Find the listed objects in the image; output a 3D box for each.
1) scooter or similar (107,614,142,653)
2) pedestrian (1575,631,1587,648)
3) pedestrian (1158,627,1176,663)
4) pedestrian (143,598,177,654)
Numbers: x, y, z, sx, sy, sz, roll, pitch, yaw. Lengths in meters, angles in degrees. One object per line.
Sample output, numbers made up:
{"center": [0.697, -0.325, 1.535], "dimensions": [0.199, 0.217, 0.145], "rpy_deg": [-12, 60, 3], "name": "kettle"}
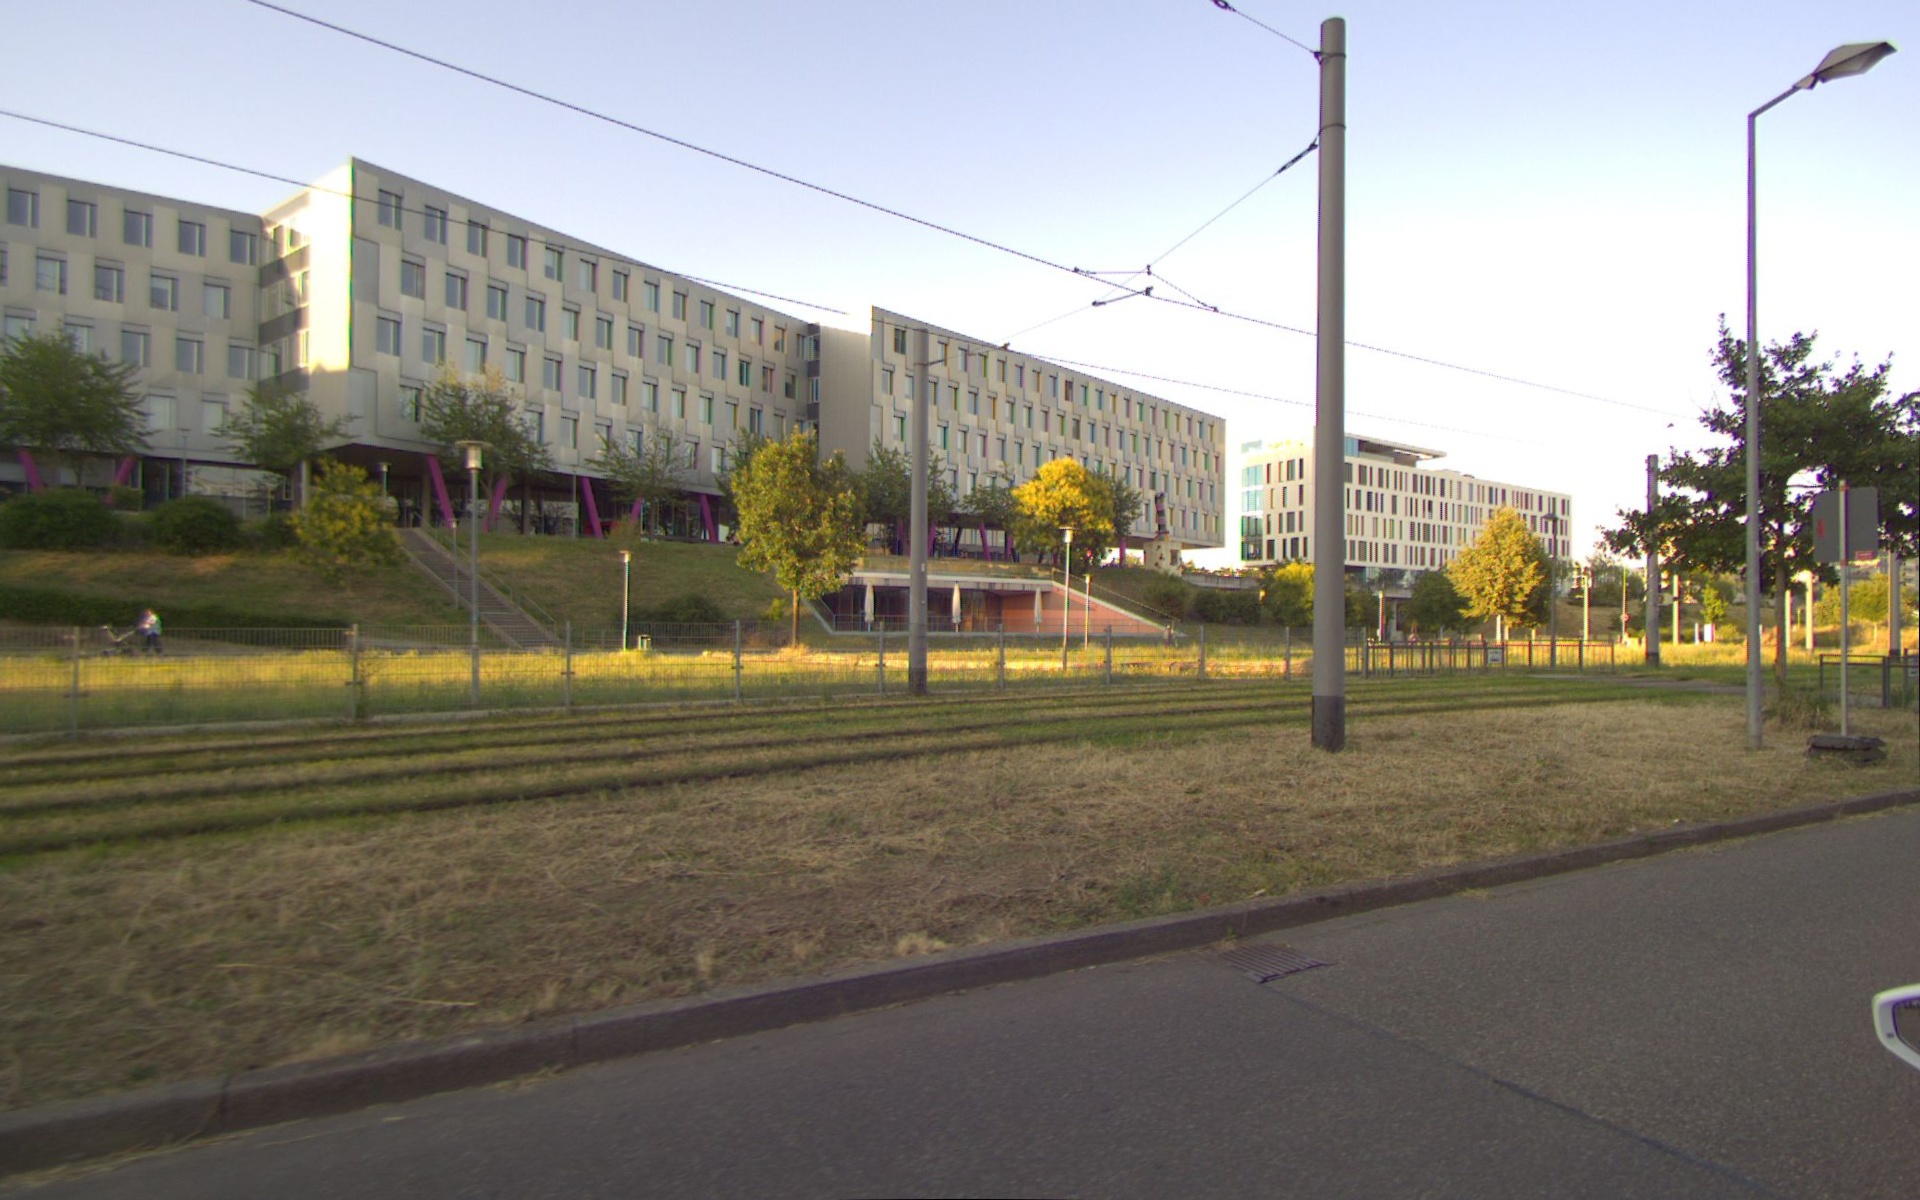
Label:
{"center": [-27.975, 1.123, 33.630], "dimensions": [0.781, 1.260, 0.613], "rpy_deg": [1, 0, -30], "name": "scooter or similar"}
{"center": [66.422, 4.240, 107.384], "dimensions": [0.803, 1.810, 0.784], "rpy_deg": [1, -2, -26], "name": "pedestrian"}
{"center": [12.213, 2.662, 59.236], "dimensions": [0.781, 2.110, 0.613], "rpy_deg": [1, 0, -30], "name": "pedestrian"}
{"center": [-27.161, 0.881, 34.104], "dimensions": [0.781, 1.861, 0.613], "rpy_deg": [1, 0, -30], "name": "pedestrian"}
